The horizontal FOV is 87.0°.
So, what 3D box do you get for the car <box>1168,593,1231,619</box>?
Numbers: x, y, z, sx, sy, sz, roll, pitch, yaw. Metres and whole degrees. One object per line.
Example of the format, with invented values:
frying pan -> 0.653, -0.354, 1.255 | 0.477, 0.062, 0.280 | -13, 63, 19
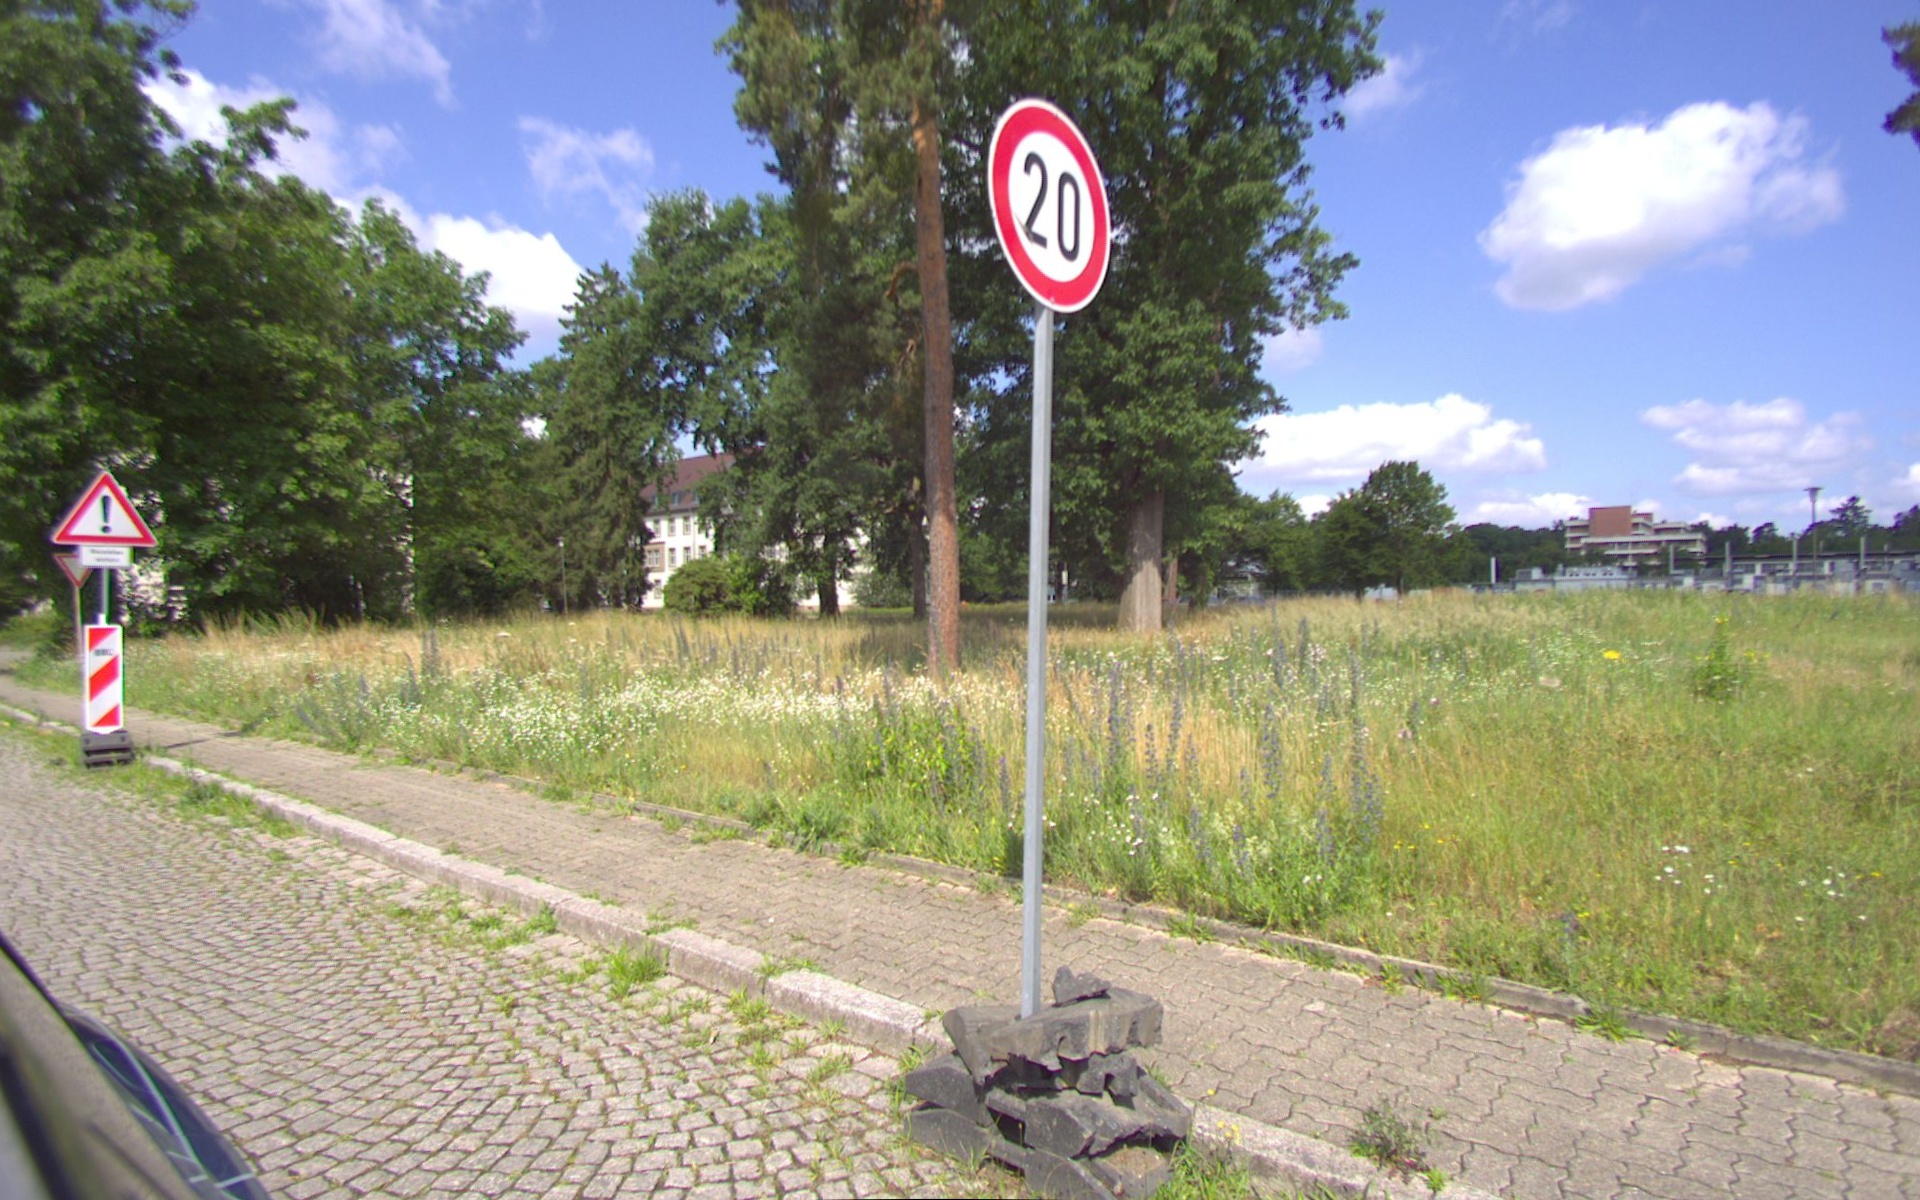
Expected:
car -> 13.417, 0.322, 56.623 | 1.898, 1.423, 4.019 | -1, -1, 38
